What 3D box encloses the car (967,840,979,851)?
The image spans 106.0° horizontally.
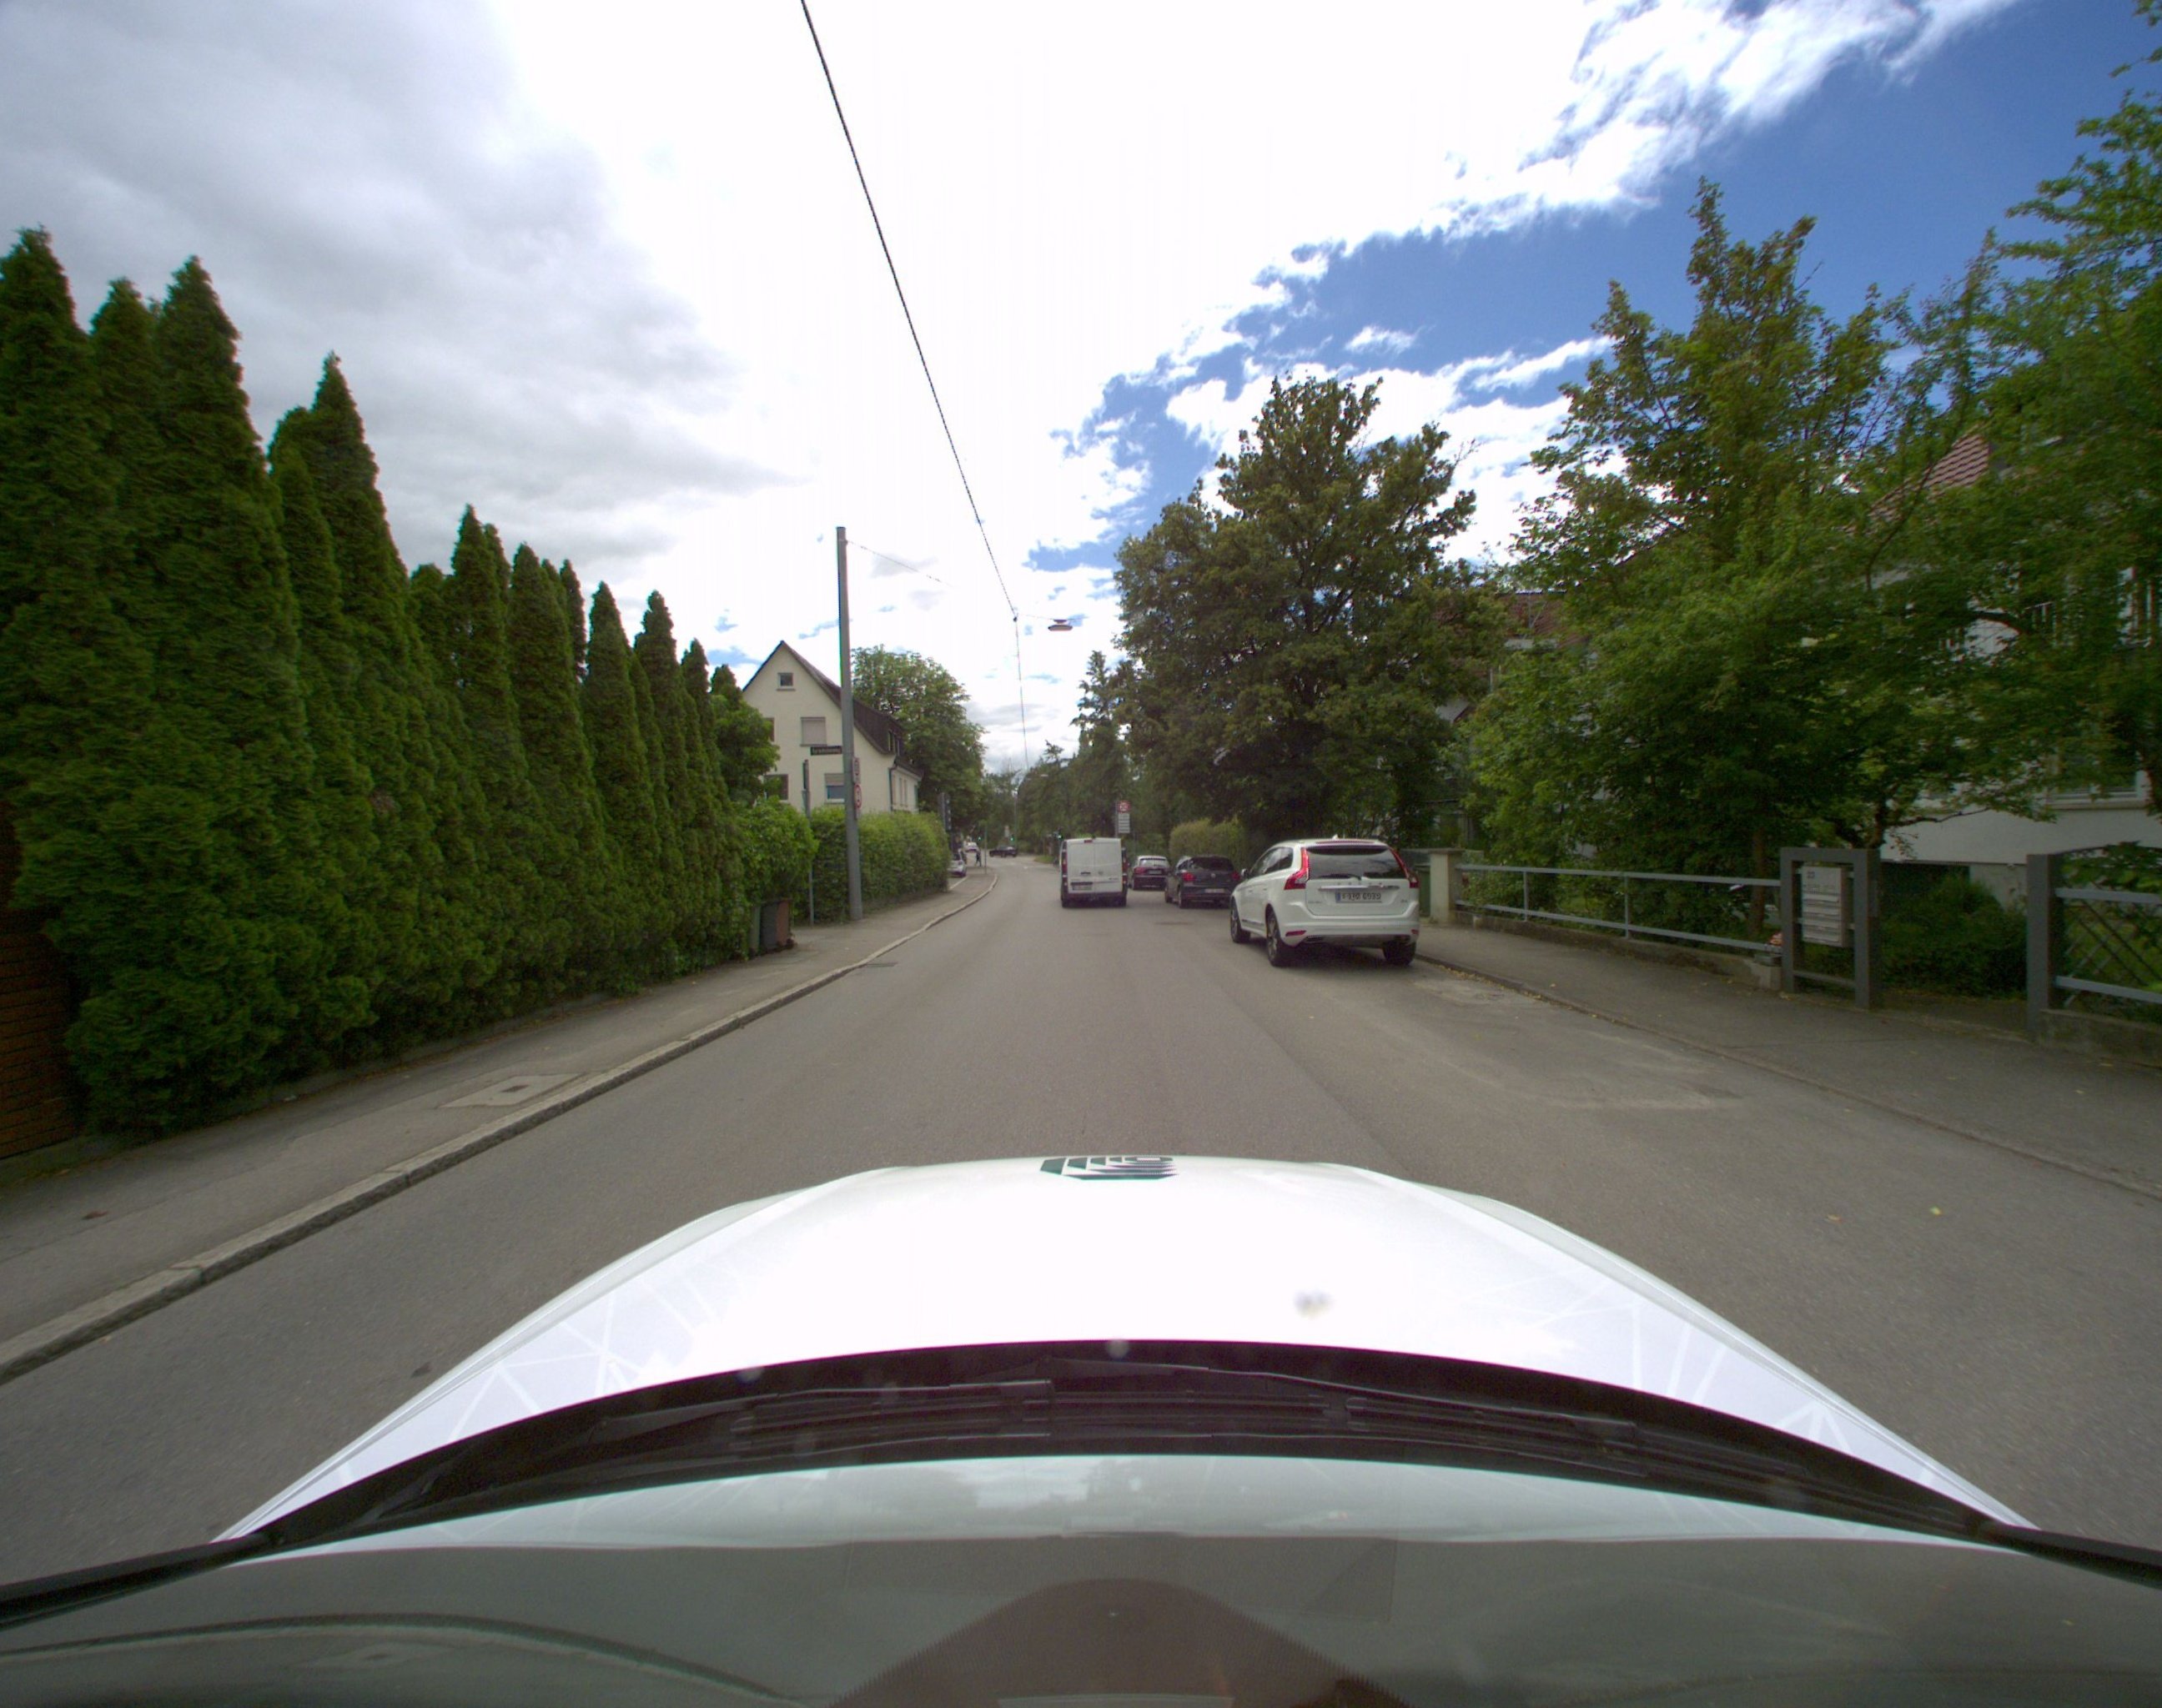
[{"bbox_3d":[-17.869,-1.451,134.518,1.823,1.727,3.991,-1,1,-7],"label":"car"}]

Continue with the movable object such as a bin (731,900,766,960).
[{"bbox_3d":[-5.178,1.179,12.708,0.335,0.893,0.476,0,0,3],"label":"movable object such as a bin"}]

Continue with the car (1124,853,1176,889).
[{"bbox_3d":[2.854,0.671,34.354,1.706,1.412,3.786,1,0,-3],"label":"car"}]

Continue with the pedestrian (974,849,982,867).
[{"bbox_3d":[-9.808,0.367,77.315,0.696,1.616,0.714,-1,2,-4],"label":"pedestrian"}]

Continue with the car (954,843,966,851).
[{"bbox_3d":[-25.320,-1.407,170.744,1.898,1.611,4.475,-1,1,-16],"label":"car"}]

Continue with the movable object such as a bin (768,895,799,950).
[{"bbox_3d":[-5.108,1.171,13.984,0.335,0.893,0.476,0,0,3],"label":"movable object such as a bin"}]

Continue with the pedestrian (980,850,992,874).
[{"bbox_3d":[-6.641,0.544,56.844,0.704,1.610,0.576,-2,0,1],"label":"pedestrian"}]

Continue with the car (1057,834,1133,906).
[{"bbox_3d":[0.327,0.404,24.521,1.926,1.964,4.396,-1,1,-4],"label":"car"}]

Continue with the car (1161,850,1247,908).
[{"bbox_3d":[3.396,0.641,23.168,1.705,1.487,3.786,-1,0,-3],"label":"car"}]

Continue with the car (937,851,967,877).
[{"bbox_3d":[-8.104,0.597,51.452,1.585,1.538,2.920,1,1,-4],"label":"car"}]

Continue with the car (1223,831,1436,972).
[{"bbox_3d":[3.395,0.572,12.070,1.859,1.685,4.350,-1,0,0],"label":"car"}]

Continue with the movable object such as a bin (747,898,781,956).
[{"bbox_3d":[-5.146,1.184,13.238,0.335,0.893,0.476,0,0,3],"label":"movable object such as a bin"}]

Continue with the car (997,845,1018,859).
[{"bbox_3d":[-9.653,-0.285,106.579,1.901,1.859,4.379,-1,1,-17],"label":"car"}]

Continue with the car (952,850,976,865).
[{"bbox_3d":[-11.561,0.367,80.675,1.774,1.441,4.524,0,0,-1],"label":"car"}]
